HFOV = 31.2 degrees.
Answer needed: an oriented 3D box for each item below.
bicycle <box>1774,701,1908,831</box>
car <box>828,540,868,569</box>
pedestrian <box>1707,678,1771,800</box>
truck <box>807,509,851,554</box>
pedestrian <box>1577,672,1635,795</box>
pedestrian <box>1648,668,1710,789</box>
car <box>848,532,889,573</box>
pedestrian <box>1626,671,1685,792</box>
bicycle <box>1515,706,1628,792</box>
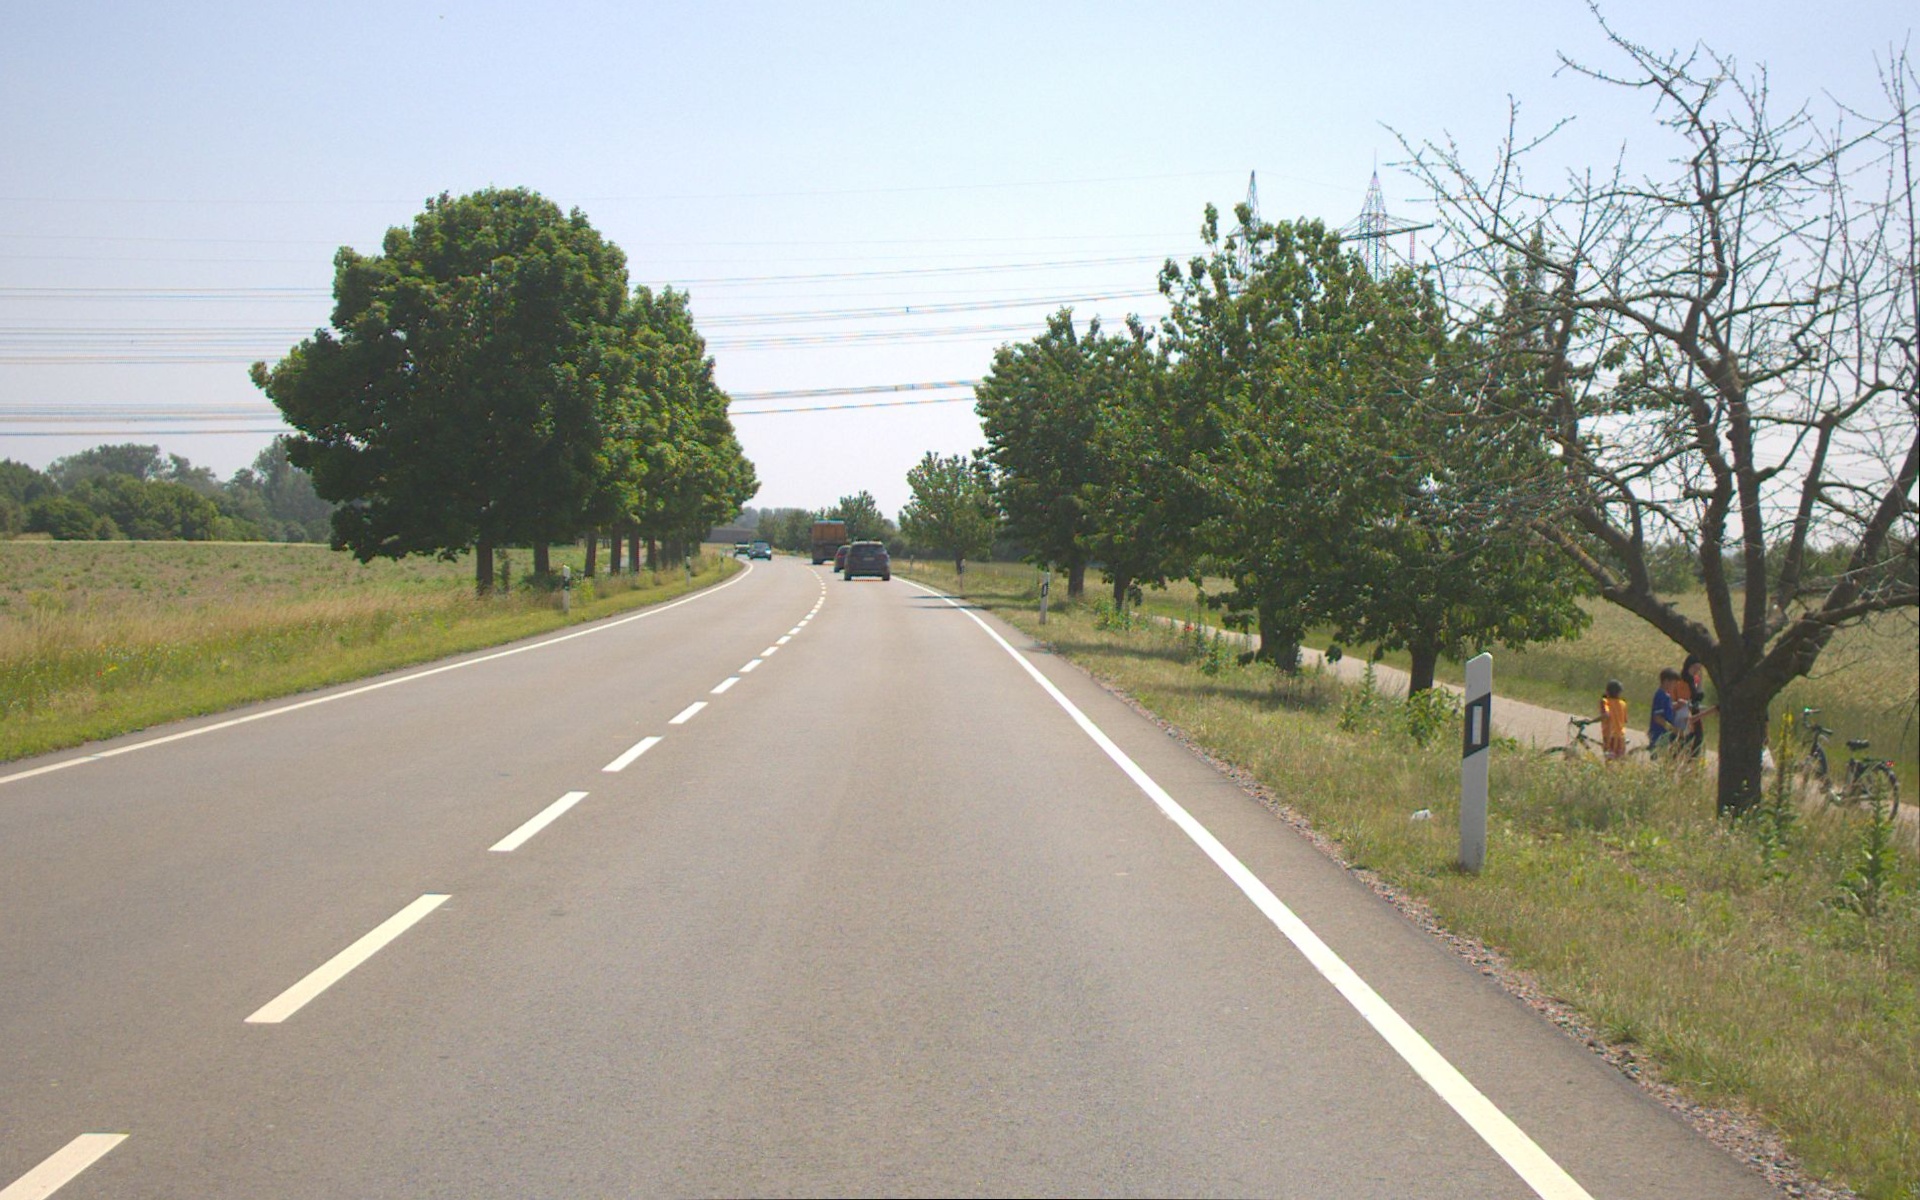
[{"bbox_3d":[8.740,1.634,34.181,0.475,1.161,1.683,1,1,-16],"label":"bicycle"},{"bbox_3d":[-6.108,-2.487,186.620,1.850,1.517,4.001,1,1,-6],"label":"car"},{"bbox_3d":[8.442,1.499,37.235,0.487,1.291,0.441,2,1,44],"label":"pedestrian"},{"bbox_3d":[-9.598,-5.015,251.185,2.370,3.129,8.750,2,1,-7],"label":"truck"},{"bbox_3d":[6.963,1.433,37.068,0.440,1.291,0.487,1,1,-8],"label":"pedestrian"},{"bbox_3d":[7.987,1.424,38.168,0.487,1.309,0.441,2,1,42],"label":"pedestrian"},{"bbox_3d":[-3.906,-2.016,146.619,1.714,1.688,3.989,1,1,-2],"label":"car"},{"bbox_3d":[7.634,1.435,37.740,0.486,1.291,0.441,2,1,32],"label":"pedestrian"},{"bbox_3d":[6.691,1.624,37.639,1.118,0.857,0.441,2,1,36],"label":"bicycle"}]
